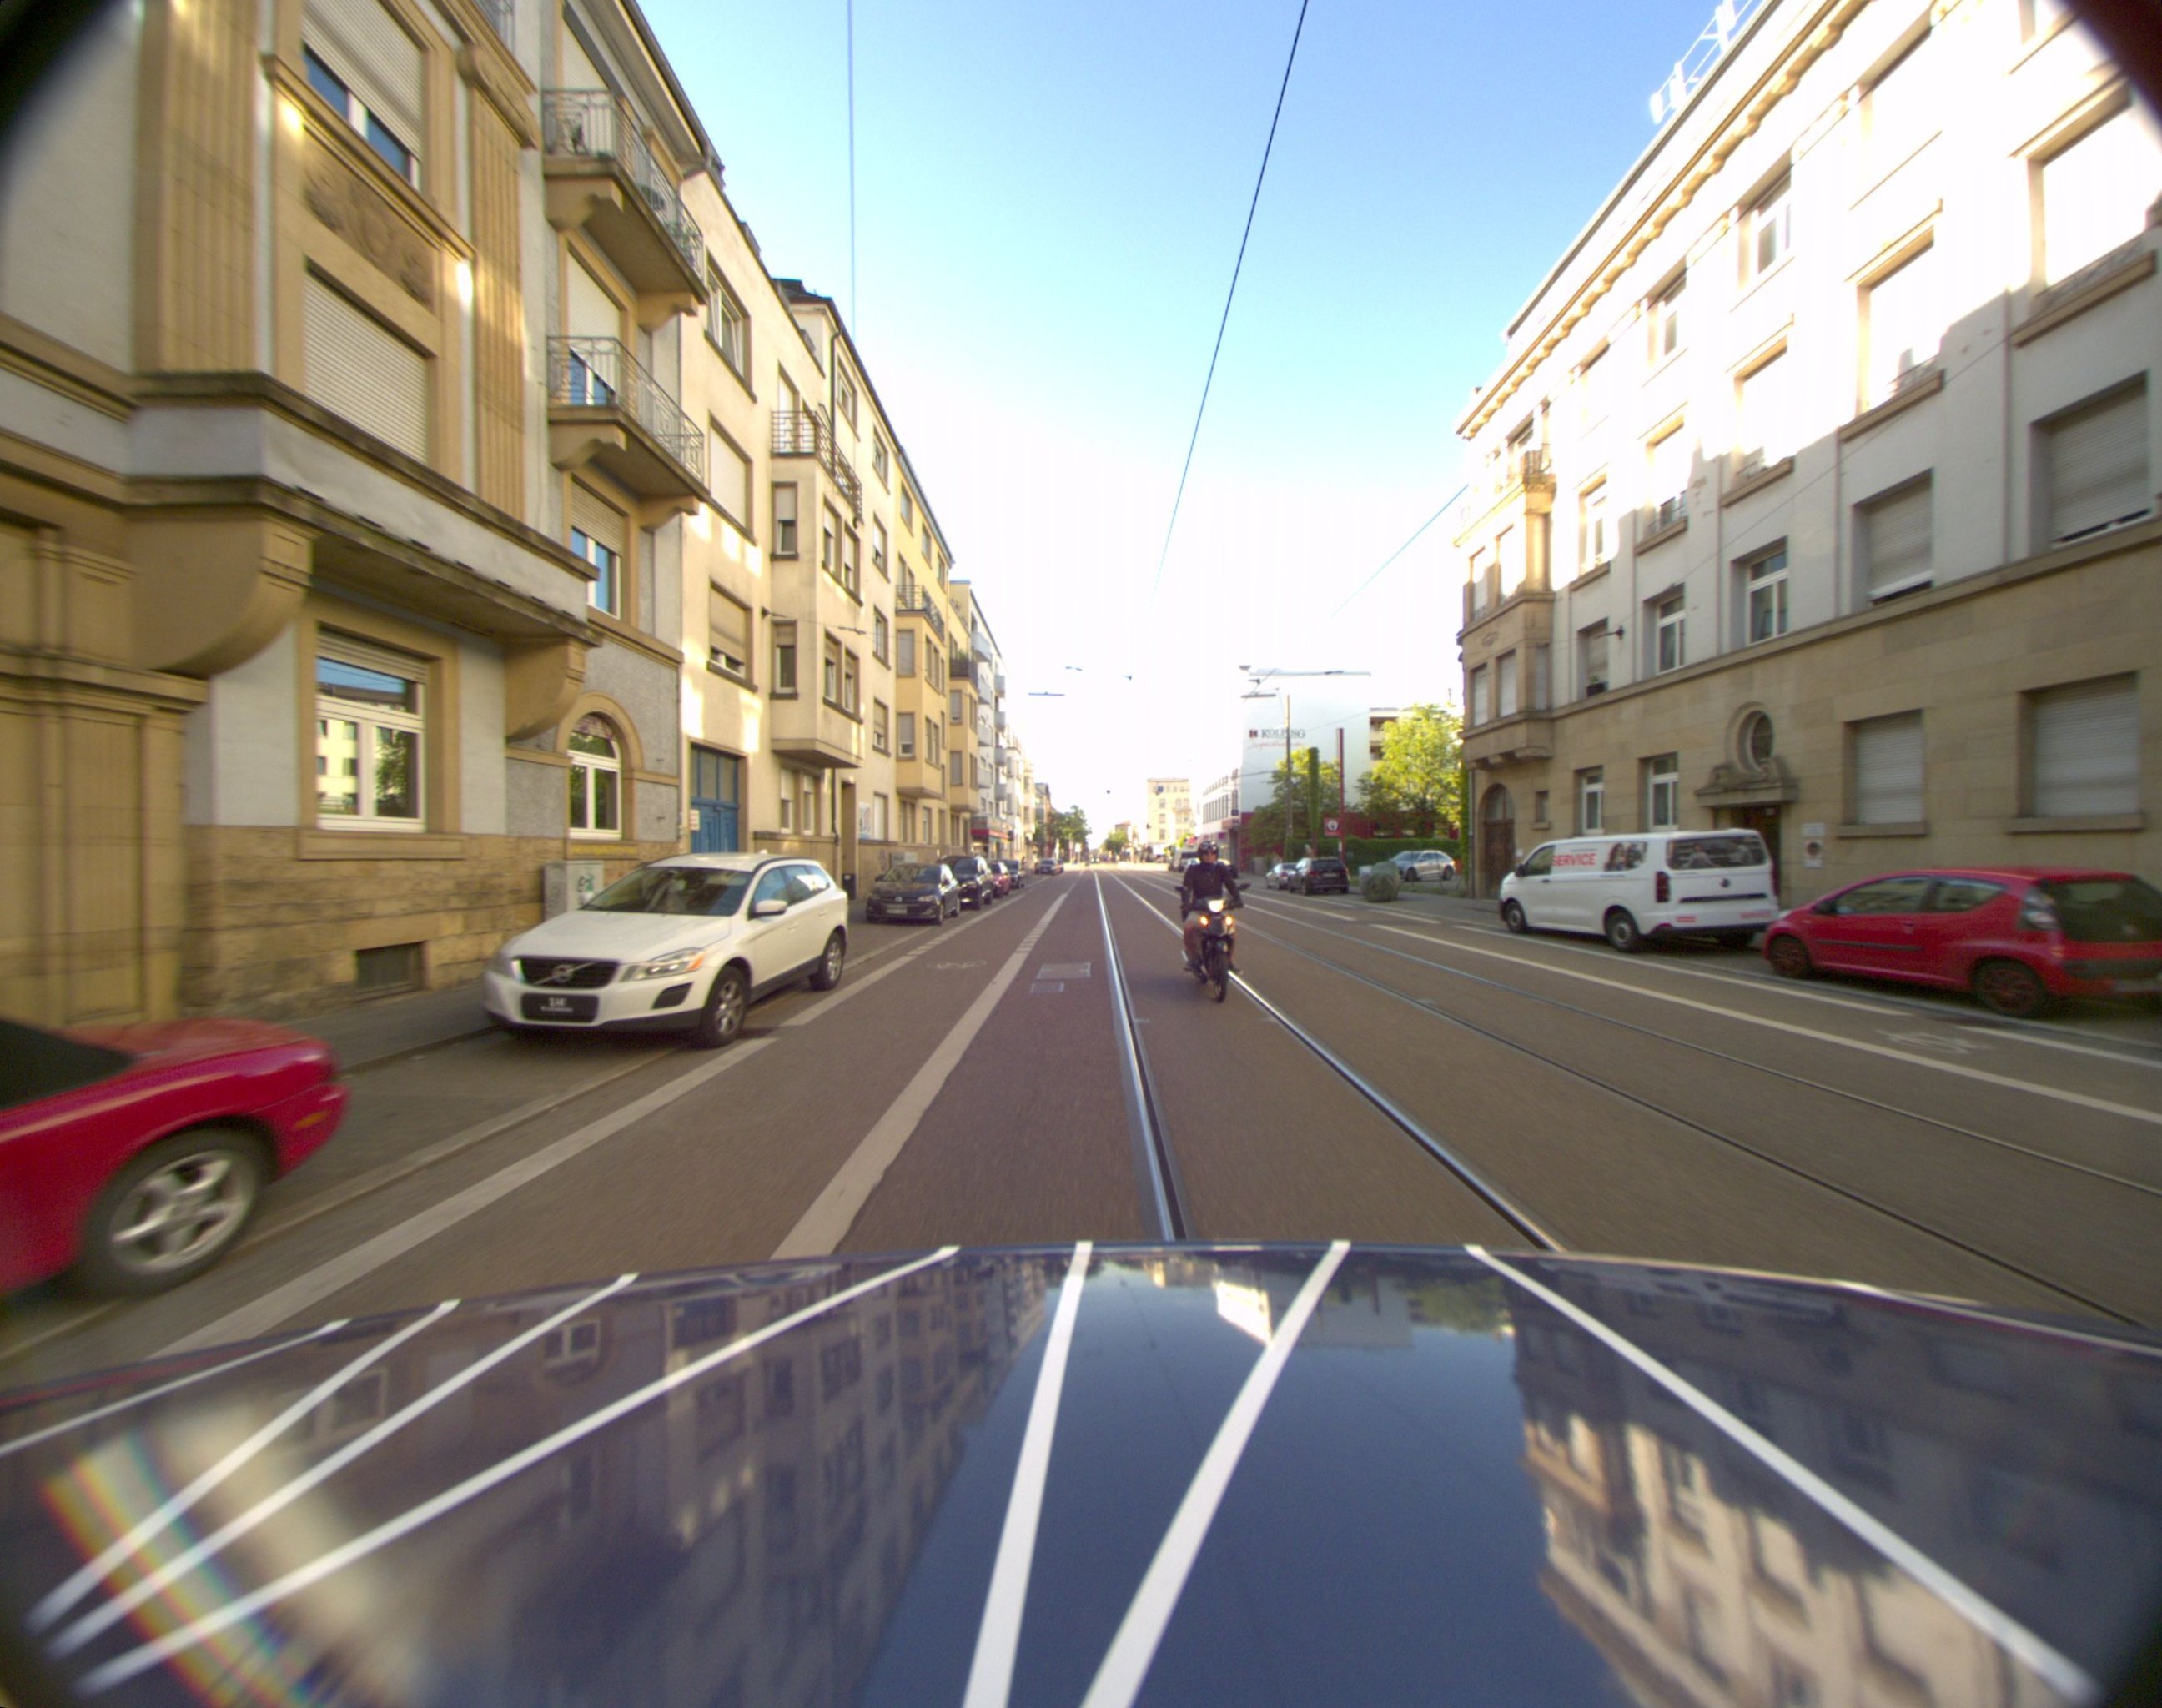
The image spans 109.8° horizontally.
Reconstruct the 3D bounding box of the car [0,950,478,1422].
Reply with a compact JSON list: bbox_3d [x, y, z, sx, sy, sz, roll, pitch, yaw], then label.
[{"bbox_3d":[-4.266,1.169,1.949,1.658,1.242,4.506,0,0,4],"label":"car"}]

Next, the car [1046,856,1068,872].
[{"bbox_3d":[-2.474,1.062,78.798,1.861,1.498,4.096,3,0,2],"label":"car"}]

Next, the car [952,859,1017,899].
[{"bbox_3d":[-3.846,0.959,31.011,1.863,1.447,4.710,0,0,2],"label":"car"}]

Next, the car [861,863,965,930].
[{"bbox_3d":[-4.018,0.967,18.808,1.742,1.433,4.032,0,0,-1],"label":"car"}]

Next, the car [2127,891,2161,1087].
[{"bbox_3d":[9.317,1.041,3.938,1.788,1.515,4.360,-2,0,0],"label":"car"}]

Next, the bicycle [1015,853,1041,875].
[{"bbox_3d":[-4.112,0.764,59.229,1.935,1.700,0.775,0,1,1],"label":"bicycle"}]

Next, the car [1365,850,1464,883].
[{"bbox_3d":[16.139,0.560,36.719,4.805,1.509,1.995,0,0,-32],"label":"car"}]

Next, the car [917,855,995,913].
[{"bbox_3d":[-3.901,0.890,24.377,1.864,1.656,4.560,0,0,-2],"label":"car"}]

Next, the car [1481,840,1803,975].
[{"bbox_3d":[9.693,0.786,13.865,1.978,1.937,5.251,-2,0,0],"label":"car"}]

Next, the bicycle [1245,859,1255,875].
[{"bbox_3d":[13.372,1.015,60.123,0.440,1.168,2.050,0,0,2],"label":"bicycle"}]

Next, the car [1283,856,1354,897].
[{"bbox_3d":[10.024,0.915,32.392,1.787,1.556,4.611,-2,0,3],"label":"car"}]

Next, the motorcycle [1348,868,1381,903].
[{"bbox_3d":[10.304,1.108,27.591,0.739,1.164,2.184,0,0,31],"label":"motorcycle"}]

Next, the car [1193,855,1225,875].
[{"bbox_3d":[10.436,0.888,62.279,1.787,1.472,4.699,-2,0,1],"label":"car"}]

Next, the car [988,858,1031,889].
[{"bbox_3d":[-3.684,0.967,39.501,1.722,1.482,4.002,1,0,1],"label":"car"}]

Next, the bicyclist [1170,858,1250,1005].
[{"bbox_3d":[1.415,0.821,8.488,0.774,1.531,0.939,0,1,3],"label":"bicyclist"}]

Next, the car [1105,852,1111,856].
[{"bbox_3d":[8.864,-0.004,250.477,1.970,1.577,4.001,0,0,3],"label":"car"}]

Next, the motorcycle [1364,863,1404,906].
[{"bbox_3d":[10.243,1.008,25.667,0.884,1.343,1.961,0,0,34],"label":"motorcycle"}]

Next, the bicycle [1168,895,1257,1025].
[{"bbox_3d":[1.407,1.099,8.419,0.767,1.191,1.752,0,0,3],"label":"bicycle"}]

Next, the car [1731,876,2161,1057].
[{"bbox_3d":[9.708,1.060,8.598,1.606,1.464,3.646,-2,0,1],"label":"car"}]

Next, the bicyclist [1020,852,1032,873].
[{"bbox_3d":[-4.290,0.655,59.262,0.845,1.692,0.510,0,1,0],"label":"bicyclist"}]

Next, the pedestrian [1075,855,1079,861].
[{"bbox_3d":[-0.719,0.697,136.069,0.774,1.197,0.610,0,1,-7],"label":"pedestrian"}]

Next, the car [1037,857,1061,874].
[{"bbox_3d":[-2.833,1.026,68.278,1.714,1.399,4.358,3,0,2],"label":"car"}]

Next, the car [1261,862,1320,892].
[{"bbox_3d":[10.288,1.110,37.637,1.787,1.306,4.221,-2,0,1],"label":"car"}]

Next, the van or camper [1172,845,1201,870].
[{"bbox_3d":[10.829,0.366,78.377,2.177,2.453,6.232,-2,0,0],"label":"van or camper"}]

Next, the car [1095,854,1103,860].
[{"bbox_3d":[4.447,0.735,184.153,1.970,1.577,4.000,0,0,1],"label":"car"}]

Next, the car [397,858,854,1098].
[{"bbox_3d":[-3.960,0.909,7.728,1.847,1.681,4.505,0,0,1],"label":"car"}]

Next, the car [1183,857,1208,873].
[{"bbox_3d":[10.735,1.039,71.316,1.787,1.390,4.445,-2,0,2],"label":"car"}]

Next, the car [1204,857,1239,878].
[{"bbox_3d":[10.394,0.994,56.495,1.787,1.437,4.842,-2,0,1],"label":"car"}]
